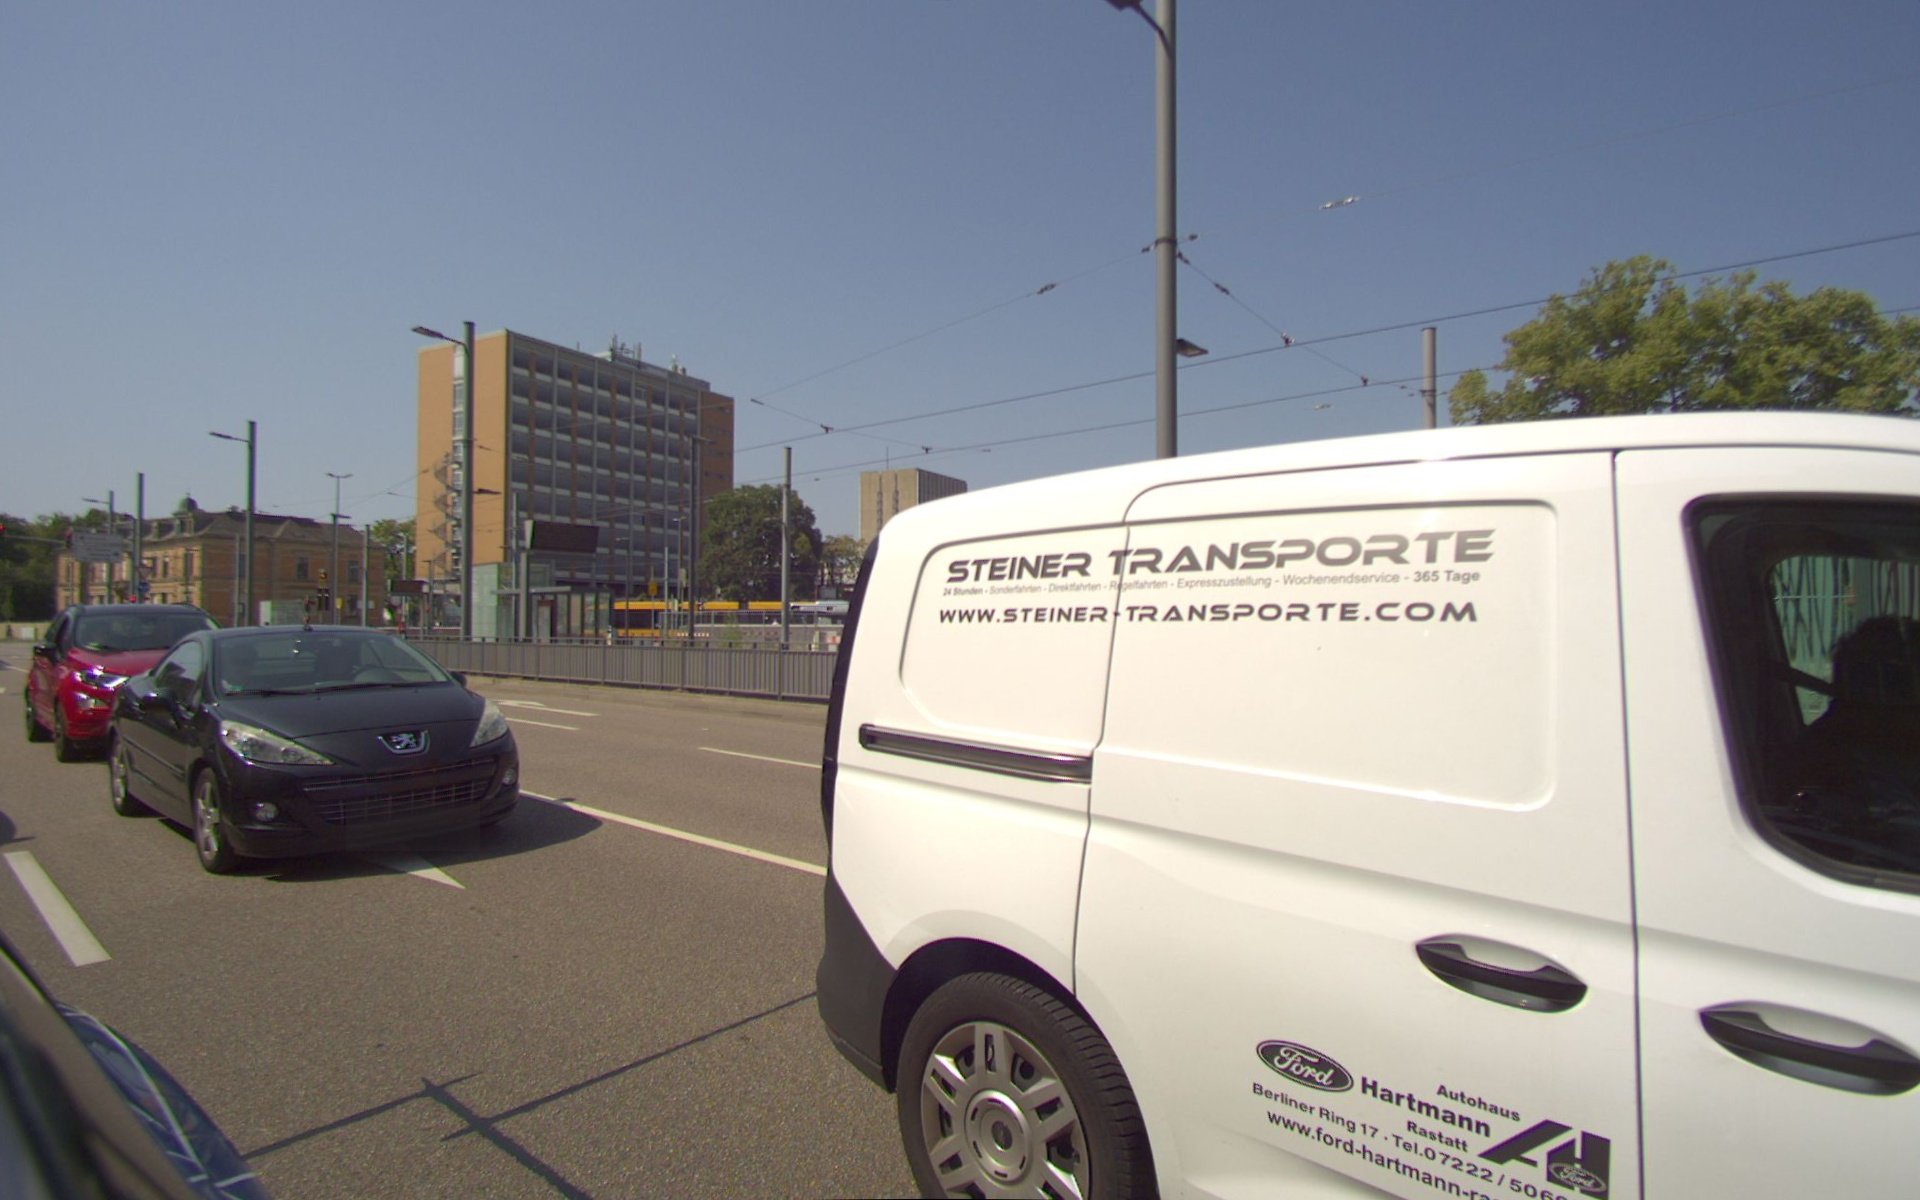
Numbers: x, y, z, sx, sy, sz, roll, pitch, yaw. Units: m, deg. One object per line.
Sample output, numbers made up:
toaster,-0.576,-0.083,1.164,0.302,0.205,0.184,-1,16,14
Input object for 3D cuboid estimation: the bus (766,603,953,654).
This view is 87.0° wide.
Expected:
bus,-7.230,2.034,73.458,13.205,3.319,3.354,-1,0,-4

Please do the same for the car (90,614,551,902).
car,-4.544,0.836,6.963,3.799,1.424,1.671,-1,-1,41

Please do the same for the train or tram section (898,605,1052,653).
train or tram section,1.193,2.325,81.284,12.180,3.794,2.002,0,-2,-4

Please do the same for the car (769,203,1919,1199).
car,1.678,0.467,1.787,4.237,1.834,1.729,-2,-1,41

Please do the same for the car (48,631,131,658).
car,-62.237,3.139,72.462,4.214,1.745,1.889,-1,0,-32

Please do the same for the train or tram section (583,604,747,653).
train or tram section,-23.061,2.232,79.455,12.180,3.794,2.002,0,-2,-4

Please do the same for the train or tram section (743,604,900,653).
train or tram section,-10.905,2.289,80.372,12.180,3.794,2.002,0,-2,-4

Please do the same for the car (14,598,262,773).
car,-9.362,0.833,11.418,3.967,1.633,1.612,-1,-1,42
